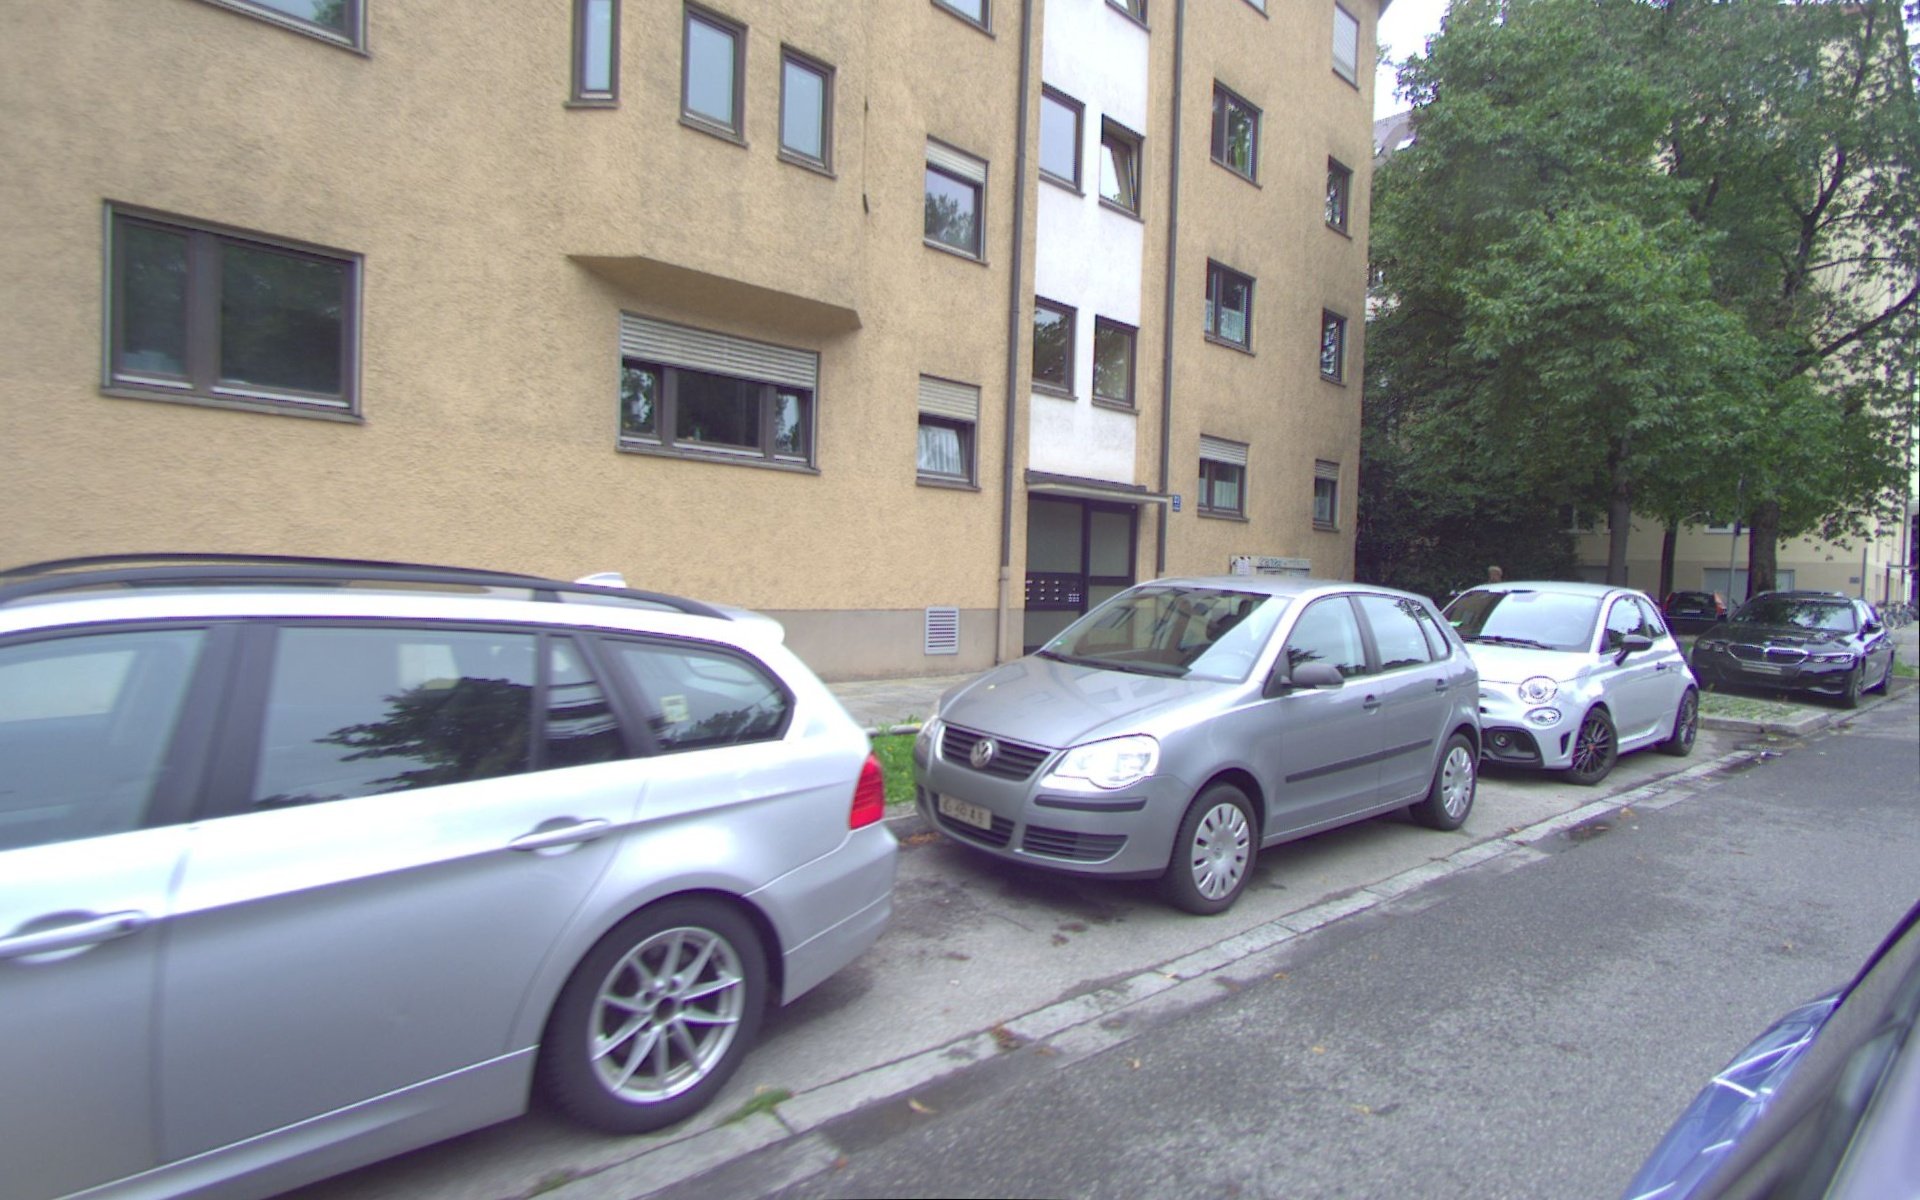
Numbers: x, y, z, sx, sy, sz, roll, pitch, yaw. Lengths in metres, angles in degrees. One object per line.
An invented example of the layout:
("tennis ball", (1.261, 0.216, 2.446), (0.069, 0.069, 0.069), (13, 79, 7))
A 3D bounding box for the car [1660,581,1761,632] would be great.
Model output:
("car", (24.789, 0.180, 33.388), (4.176, 1.485, 2.050), (0, 3, -45))

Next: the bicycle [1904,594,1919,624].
("bicycle", (38.497, 0.340, 40.854), (0.399, 1.185, 1.301), (3, 2, 37))

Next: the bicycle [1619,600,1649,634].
("bicycle", (17.943, 0.454, 26.949), (1.059, 0.891, 0.250), (0, 2, -34))

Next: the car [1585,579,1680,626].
("car", (23.118, 0.056, 34.726), (1.913, 1.485, 4.176), (3, 3, 45))

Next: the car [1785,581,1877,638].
("car", (26.952, 0.249, 31.266), (1.822, 1.584, 4.176), (3, 3, 45))

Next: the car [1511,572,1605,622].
("car", (21.488, -0.147, 36.297), (1.913, 1.640, 4.176), (3, 3, 45))

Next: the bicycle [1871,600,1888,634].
("bicycle", (29.785, 0.531, 32.781), (1.218, 1.074, 0.282), (0, 2, -44))

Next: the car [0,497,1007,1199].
("car", (-2.067, 0.529, 2.424), (4.356, 1.514, 1.694), (0, 4, -41))

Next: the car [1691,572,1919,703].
("car", (12.330, 0.445, 14.672), (4.300, 1.514, 1.796), (0, 5, -41))

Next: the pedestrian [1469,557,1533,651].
("pedestrian", (9.819, 0.059, 18.366), (0.963, 1.643, 0.672), (-1, 2, -40))

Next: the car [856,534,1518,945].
("car", (1.439, 0.482, 5.611), (3.720, 1.514, 1.632), (0, 4, -41))

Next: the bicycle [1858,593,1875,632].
("bicycle", (29.588, 0.393, 33.038), (1.218, 1.246, 0.282), (0, 2, -44))

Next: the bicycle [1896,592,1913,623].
("bicycle", (36.965, 0.271, 39.622), (0.362, 1.185, 1.300), (3, 2, 39))

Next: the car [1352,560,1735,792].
("car", (5.123, 0.493, 8.700), (3.753, 1.514, 1.632), (0, 4, -41))

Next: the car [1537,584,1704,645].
("car", (19.124, 0.367, 29.430), (1.703, 1.515, 3.705), (0, 2, -40))
